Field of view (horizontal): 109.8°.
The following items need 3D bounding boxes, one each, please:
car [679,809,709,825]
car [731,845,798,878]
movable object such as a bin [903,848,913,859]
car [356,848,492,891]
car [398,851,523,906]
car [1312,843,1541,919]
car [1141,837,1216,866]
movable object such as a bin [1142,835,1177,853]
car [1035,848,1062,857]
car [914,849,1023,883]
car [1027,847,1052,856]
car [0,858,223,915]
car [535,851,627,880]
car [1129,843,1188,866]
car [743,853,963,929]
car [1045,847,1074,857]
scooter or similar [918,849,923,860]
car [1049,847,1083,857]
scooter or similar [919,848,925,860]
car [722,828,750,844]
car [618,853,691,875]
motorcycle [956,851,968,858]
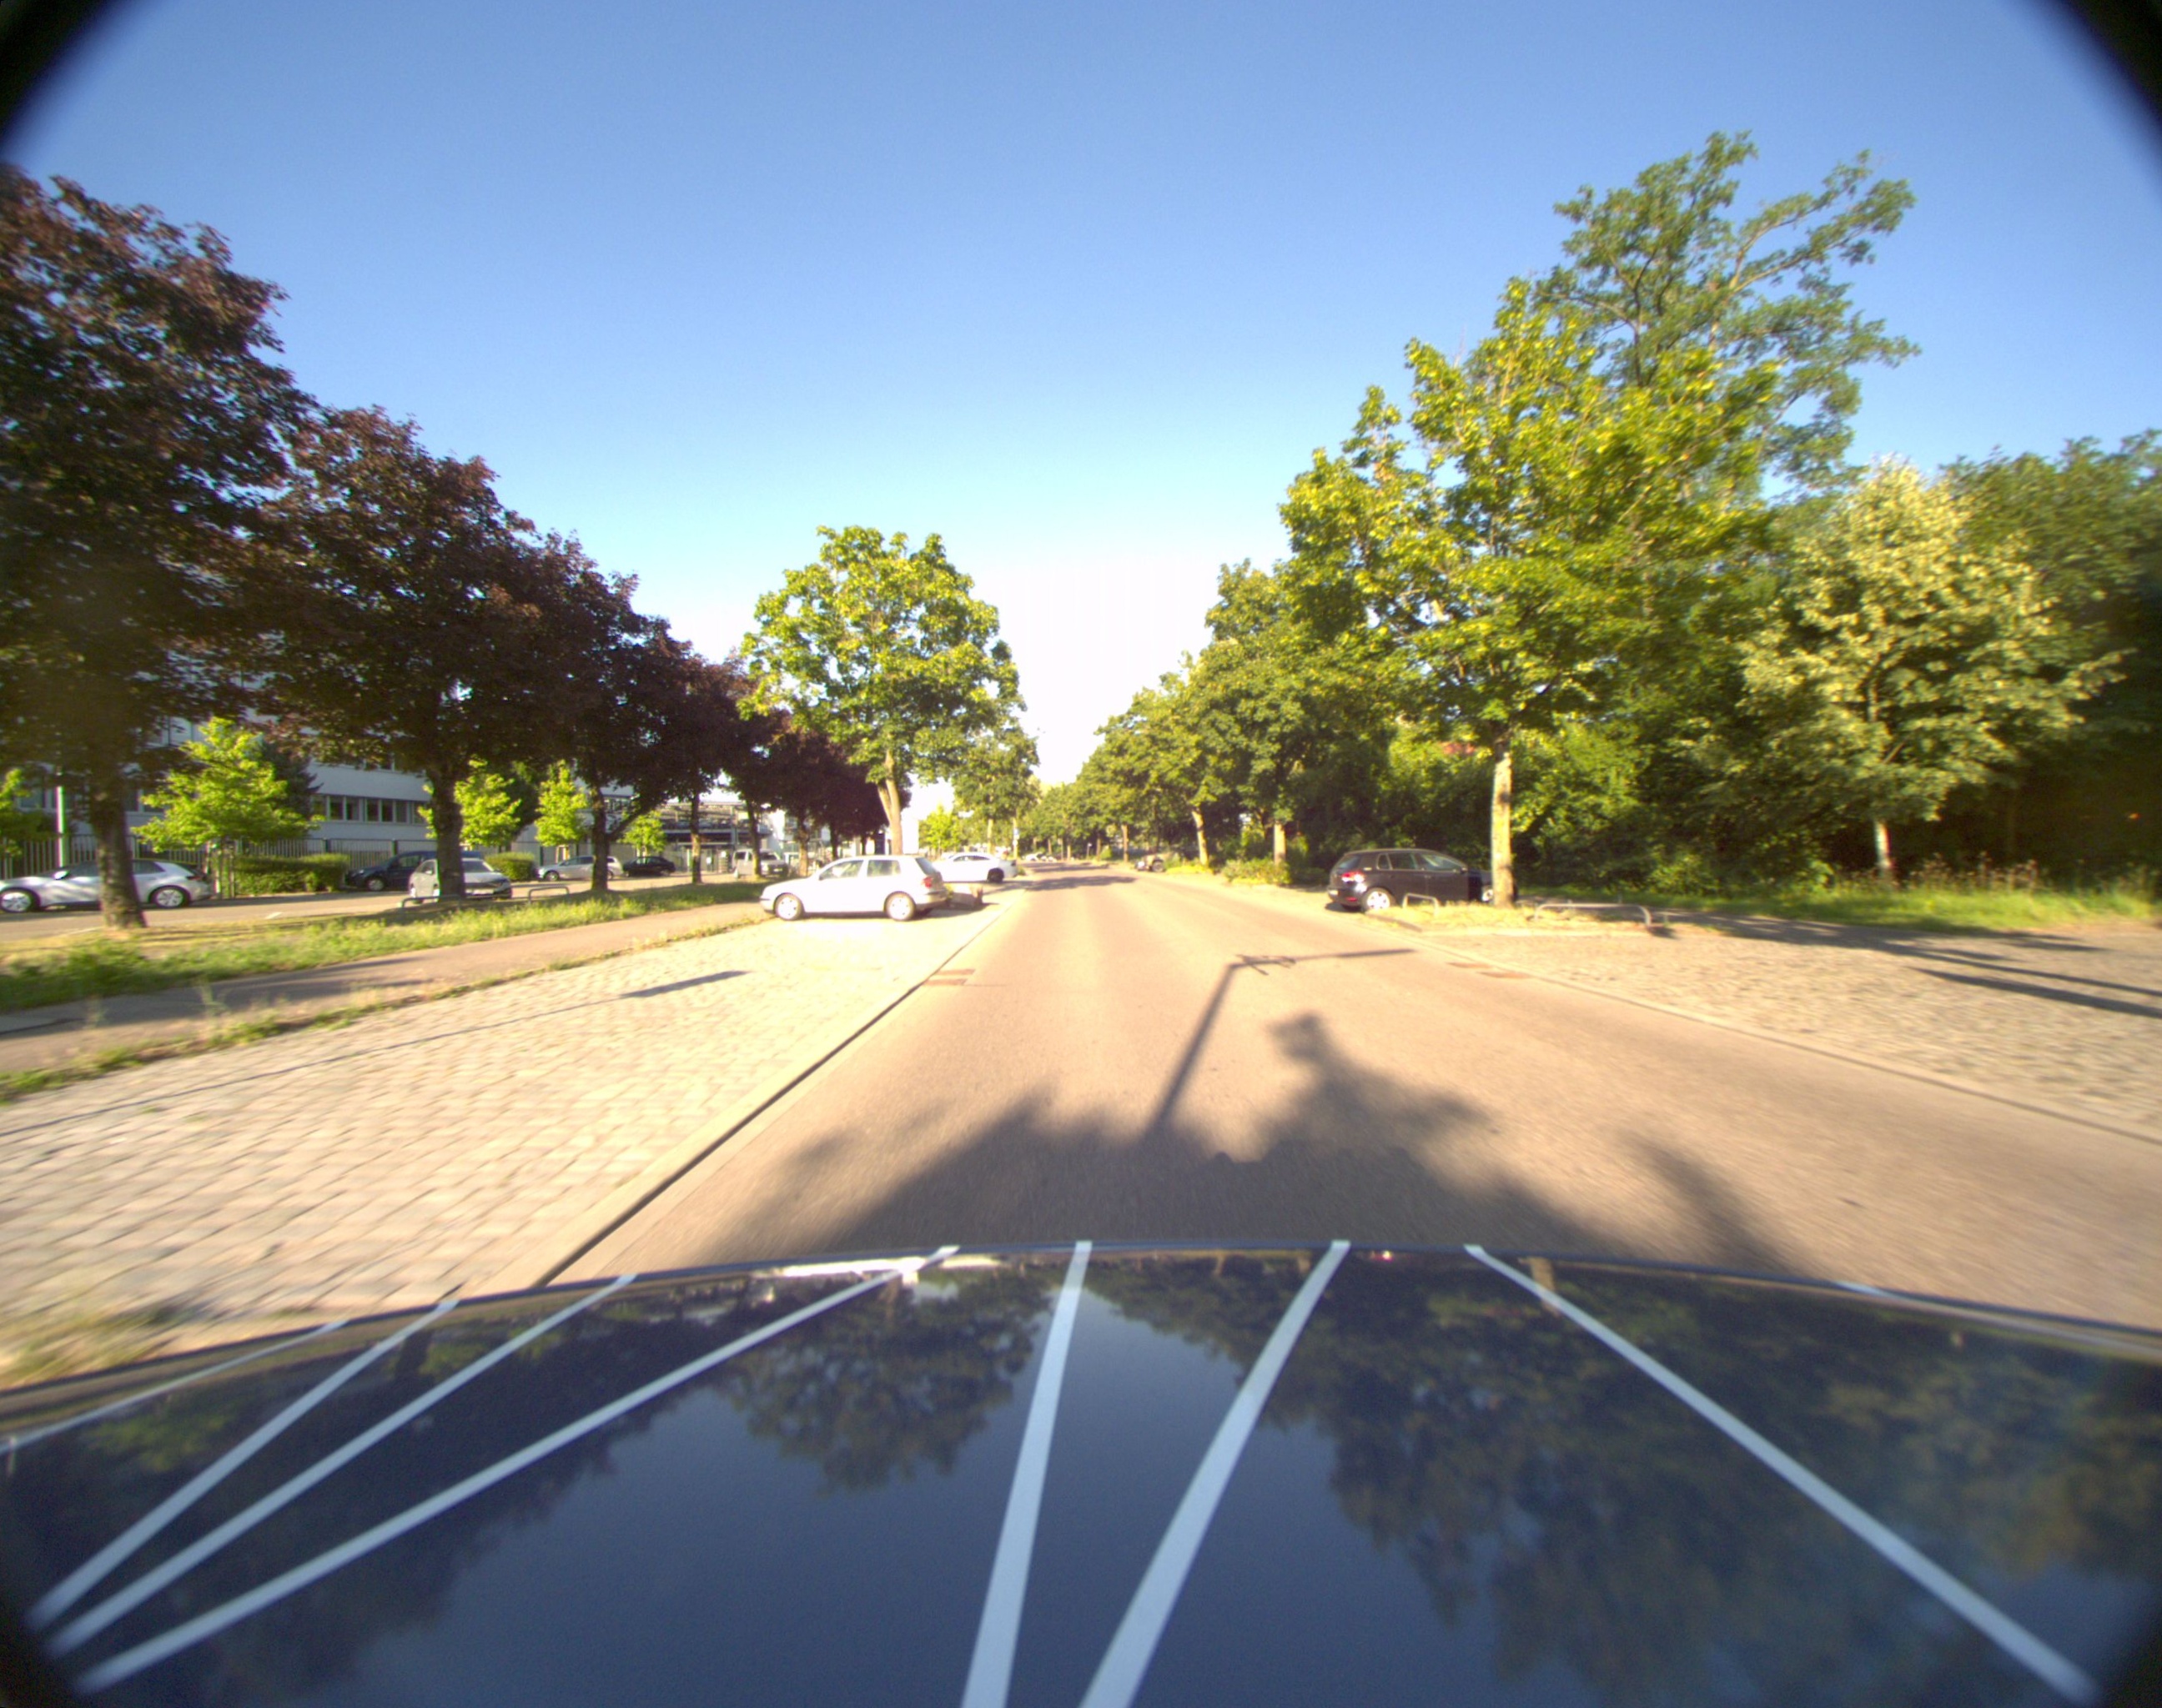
[{"bbox_3d":[-55.138,-5.254,108.273,1.999,2.089,4.200,-3,0,-1],"label":"car"},{"bbox_3d":[-19.531,0.457,46.749,4.940,1.922,2.004,-1,0,45],"label":"car"},{"bbox_3d":[-22.986,-0.101,101.143,0.846,1.408,1.039,-2,0,20],"label":"movable object such as a bin"},{"bbox_3d":[-29.197,0.640,33.871,4.505,1.740,1.762,-1,1,-43],"label":"car"},{"bbox_3d":[-19.950,0.713,24.340,4.939,1.565,2.004,0,1,38],"label":"car"},{"bbox_3d":[7.892,0.574,17.668,4.370,1.470,1.999,-3,1,-2],"label":"car"},{"bbox_3d":[6.935,-0.189,54.498,5.019,2.008,2.173,-1,1,-4],"label":"car"},{"bbox_3d":[11.653,-1.416,112.403,4.790,2.649,2.169,0,1,42],"label":"movable object such as a bin"},{"bbox_3d":[-5.756,-0.258,136.290,4.496,1.522,1.997,-2,1,-13],"label":"car"},{"bbox_3d":[-5.460,0.558,37.586,5.190,1.565,2.156,-1,1,-4],"label":"car"},{"bbox_3d":[-7.859,-0.411,143.647,4.301,1.522,1.998,-2,1,-12],"label":"car"},{"bbox_3d":[-29.214,0.912,22.841,4.312,1.518,1.762,-1,1,-41],"label":"car"},{"bbox_3d":[-29.039,0.630,44.189,4.321,1.520,1.802,-1,1,-39],"label":"car"},{"bbox_3d":[5.931,0.012,58.422,4.224,1.521,1.704,-4,1,-6],"label":"car"},{"bbox_3d":[-5.129,0.789,17.421,4.366,1.471,2.001,1,1,8],"label":"car"},{"bbox_3d":[-3.651,-0.363,128.971,4.496,1.454,1.997,-2,1,-13],"label":"car"},{"bbox_3d":[-18.126,0.076,85.822,0.521,1.265,1.199,-1,1,-8],"label":"scooter or similar"},{"bbox_3d":[-2.394,-0.313,119.058,5.053,1.454,1.997,-2,1,-13],"label":"car"},{"bbox_3d":[-17.684,-0.030,84.416,0.521,1.265,1.386,-1,1,-8],"label":"scooter or similar"},{"bbox_3d":[-49.216,-2.574,108.360,1.999,2.089,4.200,-3,0,-1],"label":"car"},{"bbox_3d":[-28.786,0.661,51.354,4.008,1.346,1.802,-1,1,-43],"label":"car"},{"bbox_3d":[-23.767,0.152,151.894,2.133,1.457,0.947,-1,1,-29],"label":"motorcycle"}]
